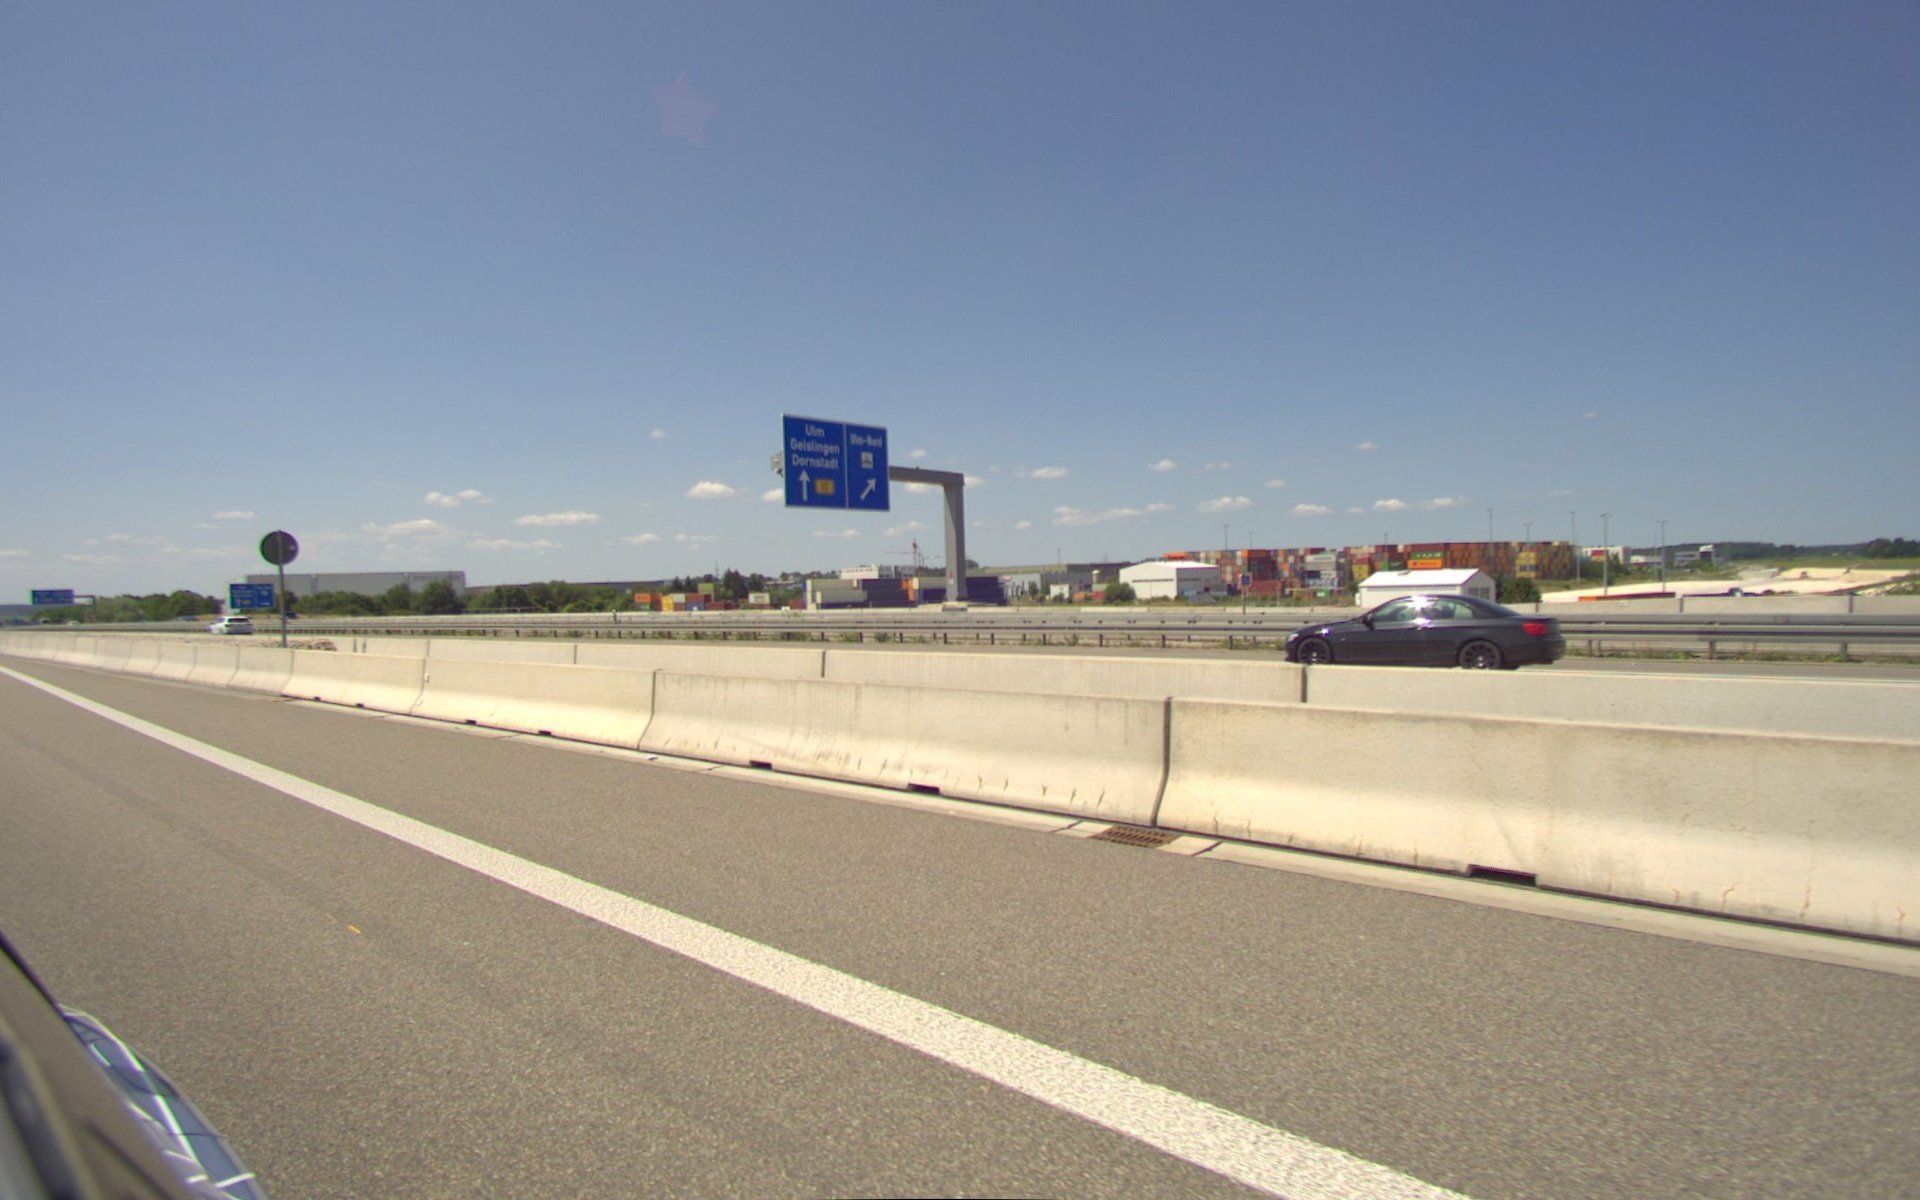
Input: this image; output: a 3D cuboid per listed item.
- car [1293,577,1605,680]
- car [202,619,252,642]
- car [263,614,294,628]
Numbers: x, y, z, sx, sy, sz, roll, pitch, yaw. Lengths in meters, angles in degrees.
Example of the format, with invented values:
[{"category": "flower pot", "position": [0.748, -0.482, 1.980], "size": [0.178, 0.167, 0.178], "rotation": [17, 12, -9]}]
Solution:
[{"category": "car", "position": [8.323, 0.470, 17.484], "size": [4.546, 1.548, 1.714], "rotation": [-2, 0, 41]}, {"category": "car", "position": [-49.526, 2.060, 68.313], "size": [4.439, 1.446, 1.791], "rotation": [-2, 0, 41]}, {"category": "car", "position": [-74.221, 2.321, 110.193], "size": [4.363, 1.390, 1.971], "rotation": [-2, -1, 44]}]
